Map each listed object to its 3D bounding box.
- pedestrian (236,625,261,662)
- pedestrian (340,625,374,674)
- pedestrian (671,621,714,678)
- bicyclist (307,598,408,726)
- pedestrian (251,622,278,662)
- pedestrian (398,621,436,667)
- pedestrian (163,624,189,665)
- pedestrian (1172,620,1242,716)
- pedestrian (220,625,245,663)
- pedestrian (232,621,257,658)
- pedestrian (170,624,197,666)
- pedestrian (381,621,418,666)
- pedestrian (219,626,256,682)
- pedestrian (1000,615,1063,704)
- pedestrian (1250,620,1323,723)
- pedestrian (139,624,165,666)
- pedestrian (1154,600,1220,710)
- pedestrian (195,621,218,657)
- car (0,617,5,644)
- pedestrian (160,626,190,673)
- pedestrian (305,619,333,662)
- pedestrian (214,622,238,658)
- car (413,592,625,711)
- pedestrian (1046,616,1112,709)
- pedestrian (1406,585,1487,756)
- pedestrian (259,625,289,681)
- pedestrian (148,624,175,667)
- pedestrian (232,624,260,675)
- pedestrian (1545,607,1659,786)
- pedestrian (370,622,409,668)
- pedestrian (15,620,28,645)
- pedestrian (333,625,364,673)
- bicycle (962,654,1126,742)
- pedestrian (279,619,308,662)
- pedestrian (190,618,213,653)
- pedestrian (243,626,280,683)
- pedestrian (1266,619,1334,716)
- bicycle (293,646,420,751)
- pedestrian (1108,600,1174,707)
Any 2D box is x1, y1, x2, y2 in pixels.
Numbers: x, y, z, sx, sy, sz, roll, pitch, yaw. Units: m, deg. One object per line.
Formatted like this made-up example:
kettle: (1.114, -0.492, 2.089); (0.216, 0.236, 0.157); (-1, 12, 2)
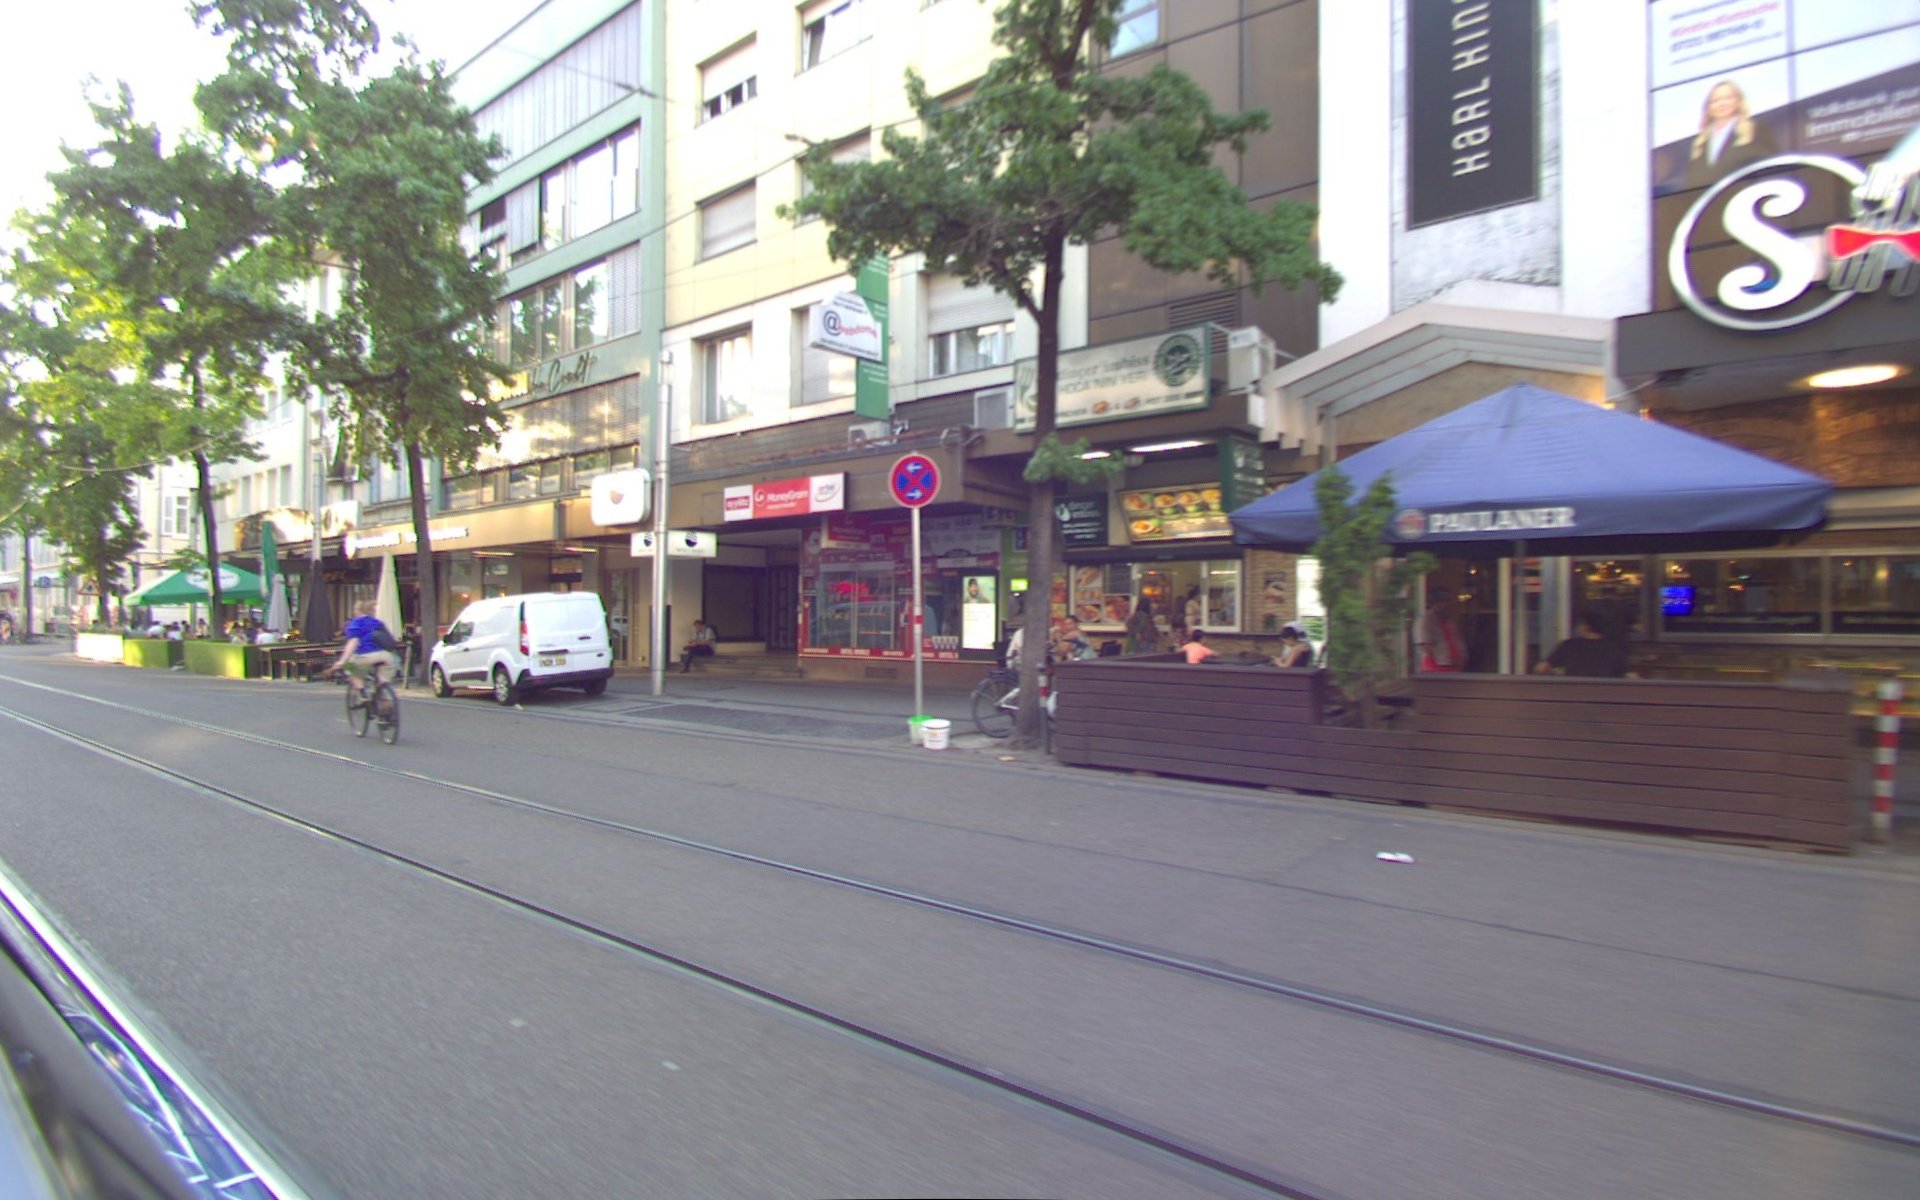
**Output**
pedestrian: (-28.684, 1.748, 40.783); (0.649, 1.471, 0.642); (-1, -2, 37)
pedestrian: (-18.428, 1.501, 30.923); (0.648, 1.471, 0.643); (-1, -2, 31)
pedestrian: (-5.799, 1.058, 21.948); (0.648, 1.184, 0.642); (-1, 0, 35)
bicyclist: (-7.084, 0.697, 11.897); (0.897, 1.425, 0.751); (-1, 0, 40)
pedestrian: (-25.924, 1.558, 37.716); (0.649, 1.471, 0.642); (-1, -2, 37)
pedestrian: (-15.999, 1.287, 29.826); (0.785, 1.326, 0.693); (-1, -2, 36)
pedestrian: (-27.070, 1.519, 34.936); (0.640, 1.396, 0.651); (1, -2, -43)
pedestrian: (3.186, 0.856, 13.057); (0.665, 1.165, 0.635); (0, 2, 38)
pedestrian: (-28.963, 1.747, 40.277); (0.649, 1.471, 0.642); (-1, -2, 37)
pedestrian: (-29.344, 1.611, 41.503); (0.649, 1.471, 0.642); (-1, -2, 38)
pedestrian: (-26.182, 1.511, 34.110); (0.640, 1.396, 0.651); (1, -2, -43)
pedestrian: (-16.815, 1.293, 30.345); (0.785, 1.326, 0.693); (-1, -2, 36)
pedestrian: (-19.096, 1.412, 26.753); (0.650, 1.471, 0.641); (-1, -2, 41)
pedestrian: (1.062, 0.873, 15.067); (0.665, 1.237, 0.635); (0, 3, 38)
pedestrian: (3.986, 0.850, 12.338); (0.665, 1.165, 0.635); (0, 2, 38)
pedestrian: (-27.523, 1.519, 34.479); (0.640, 1.396, 0.651); (1, -2, -43)
pedestrian: (3.148, 0.737, 14.017); (0.642, 1.444, 0.654); (0, 4, 40)
pedestrian: (-31.412, 1.623, 42.189); (0.649, 1.471, 0.642); (-1, -2, 38)
car: (-55.618, 1.712, 57.347); (3.997, 1.522, 1.776); (-1, -2, 41)
pedestrian: (-23.898, 1.488, 30.813); (0.640, 1.396, 0.651); (1, -2, -43)
pedestrian: (-22.236, 1.390, 35.104); (0.649, 1.471, 0.642); (-1, -2, 37)
pedestrian: (-29.664, 1.610, 40.900); (0.649, 1.471, 0.642); (-1, -2, 37)
car: (-8.005, 0.846, 18.188); (4.328, 1.835, 1.807); (-1, 1, 42)
pedestrian: (1.698, 0.867, 14.424); (0.665, 1.237, 0.635); (0, 3, 38)
pedestrian: (4.694, 0.649, 9.756); (0.564, 1.564, 0.650); (0, 2, 38)
pedestrian: (-18.477, 1.411, 27.258); (0.639, 1.471, 0.652); (1, -2, -33)
pedestrian: (-26.577, 1.511, 33.677); (0.640, 1.396, 0.651); (1, -2, -43)
pedestrian: (-20.745, 1.430, 29.407); (0.639, 1.471, 0.651); (1, -2, -37)
pedestrian: (5.491, 0.777, 8.647); (0.746, 1.411, 0.756); (0, 2, 39)
pedestrian: (-16.502, 1.287, 29.274); (0.785, 1.326, 0.693); (-1, -2, 36)
pedestrian: (-56.385, 1.944, 60.785); (0.543, 1.471, 0.484); (-1, -2, 38)
pedestrian: (-19.099, 1.507, 31.610); (0.649, 1.471, 0.642); (-1, -2, 38)
bicycle: (0.956, 1.099, 11.620); (1.813, 0.933, 0.477); (-1, 0, 20)
pedestrian: (-23.257, 1.395, 35.305); (0.649, 1.471, 0.642); (-1, -2, 37)
pedestrian: (-32.713, 1.515, 43.645); (0.649, 1.471, 0.642); (-1, -2, 38)
pedestrian: (-18.198, 1.406, 26.364); (0.639, 1.471, 0.652); (0, -1, -20)
pedestrian: (4.386, 0.851, 13.050); (0.665, 1.165, 0.635); (0, 2, 38)
bicycle: (-7.146, 1.122, 11.955); (1.864, 1.081, 0.723); (-1, 0, 41)
pedestrian: (2.592, 0.741, 14.472); (0.642, 1.444, 0.654); (0, 4, 40)
